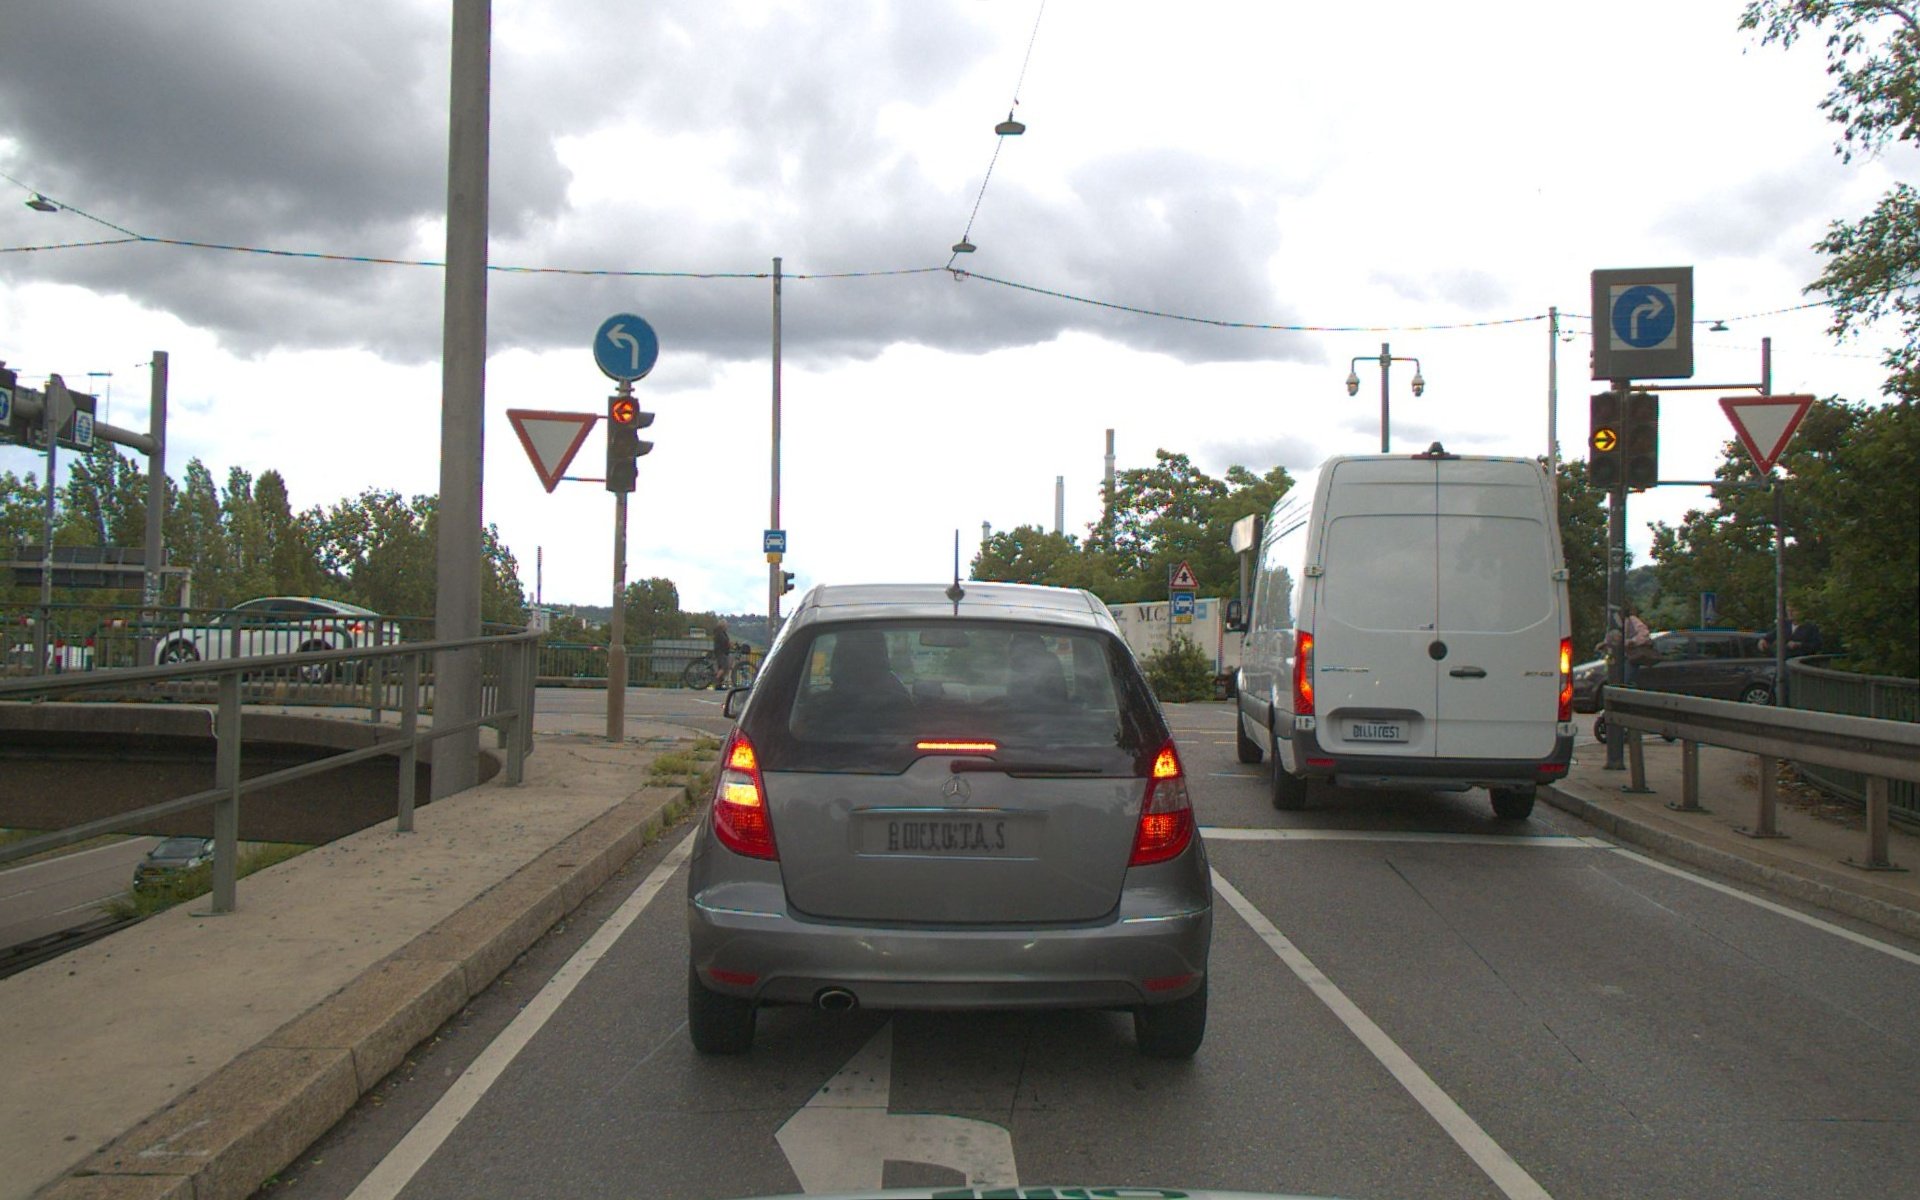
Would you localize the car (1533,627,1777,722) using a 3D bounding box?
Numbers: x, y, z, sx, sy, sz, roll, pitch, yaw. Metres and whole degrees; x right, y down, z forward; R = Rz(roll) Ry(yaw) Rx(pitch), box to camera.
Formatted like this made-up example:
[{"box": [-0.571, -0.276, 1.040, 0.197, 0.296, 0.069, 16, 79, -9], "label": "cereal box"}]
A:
[{"box": [13.210, 1.388, 31.597, 3.904, 1.694, 1.813, 0, 0, 2], "label": "car"}]

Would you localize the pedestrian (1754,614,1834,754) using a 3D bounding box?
[{"box": [10.159, 0.998, 20.136, 0.769, 1.647, 0.674, 0, 0, 36], "label": "pedestrian"}]

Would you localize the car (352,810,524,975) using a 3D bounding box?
[{"box": [-13.486, 7.483, 43.391, 2.314, 3.297, 7.655, 0, -3, -2], "label": "car"}]

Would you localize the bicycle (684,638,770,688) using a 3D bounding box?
[{"box": [-5.634, 1.519, 39.953, 1.996, 1.144, 0.927, 0, 0, -12], "label": "bicycle"}]

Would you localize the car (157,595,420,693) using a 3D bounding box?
[{"box": [-12.783, 0.806, 31.595, 4.297, 1.747, 1.939, 0, 0, 11], "label": "car"}]

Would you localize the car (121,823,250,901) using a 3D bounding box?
[{"box": [-23.878, 8.057, 51.194, 1.953, 1.874, 4.422, -1, -3, -1], "label": "car"}]

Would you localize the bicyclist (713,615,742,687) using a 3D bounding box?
[{"box": [-5.621, 1.228, 39.966, 0.641, 1.703, 0.867, 0, 0, -11], "label": "bicyclist"}]

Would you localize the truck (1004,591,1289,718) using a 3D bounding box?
[{"box": [5.638, 1.528, 52.321, 2.769, 3.580, 10.110, 0, 1, -37], "label": "truck"}]

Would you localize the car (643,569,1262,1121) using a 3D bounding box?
[{"box": [0.023, 0.691, 6.879, 1.819, 1.616, 4.001, 0, 1, 1], "label": "car"}]

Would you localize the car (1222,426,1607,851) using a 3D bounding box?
[{"box": [3.579, 0.221, 14.495, 2.066, 2.832, 6.784, 0, 1, 5], "label": "car"}]

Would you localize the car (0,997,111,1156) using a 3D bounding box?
[{"box": [-13.967, 6.832, 23.310, 1.713, 1.598, 4.219, 0, -2, 1], "label": "car"}]

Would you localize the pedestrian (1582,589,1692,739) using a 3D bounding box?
[{"box": [7.893, 0.746, 19.334, 0.816, 1.707, 0.978, 0, -3, -4], "label": "pedestrian"}]

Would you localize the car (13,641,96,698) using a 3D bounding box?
[{"box": [-38.971, 2.964, 71.255, 1.819, 2.254, 3.659, 0, 0, -5], "label": "car"}]
